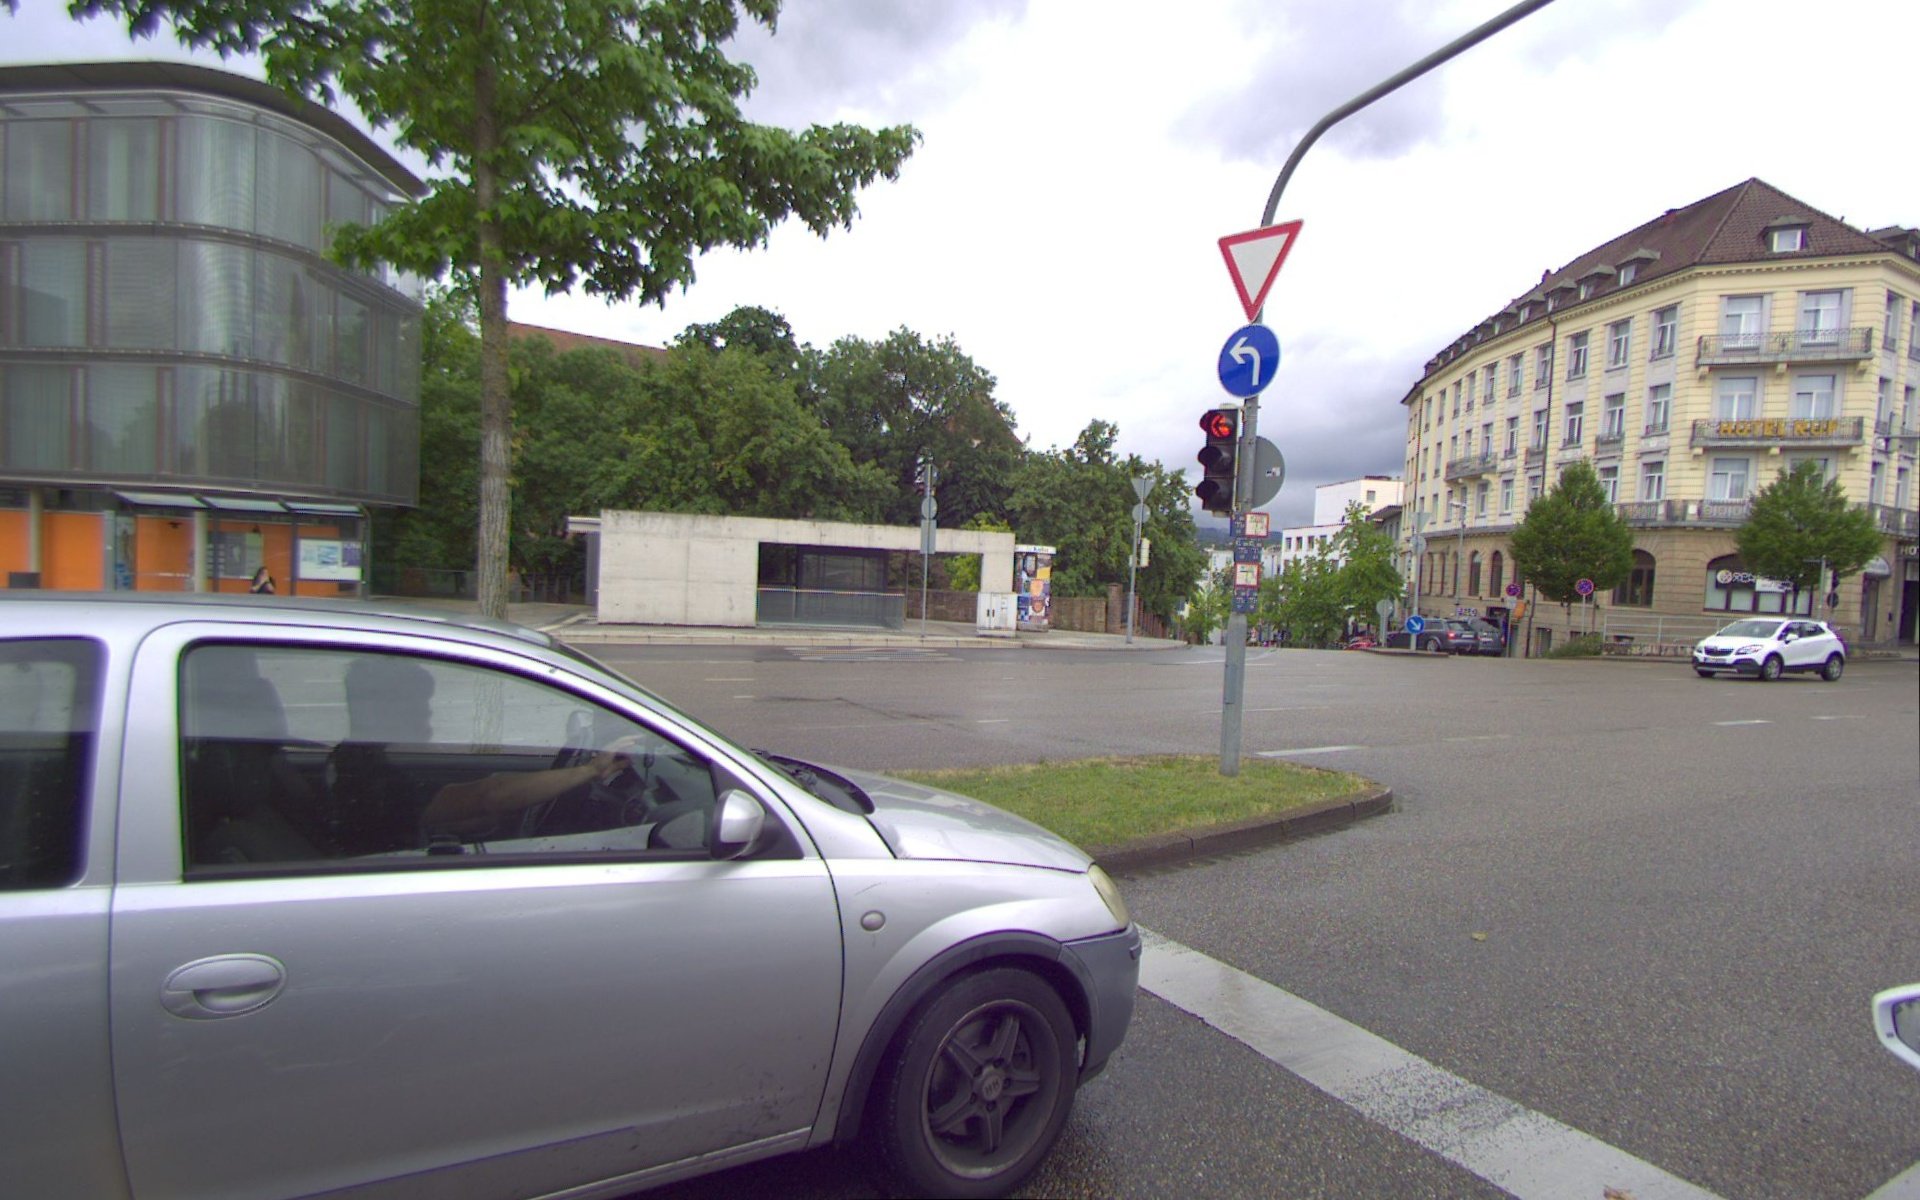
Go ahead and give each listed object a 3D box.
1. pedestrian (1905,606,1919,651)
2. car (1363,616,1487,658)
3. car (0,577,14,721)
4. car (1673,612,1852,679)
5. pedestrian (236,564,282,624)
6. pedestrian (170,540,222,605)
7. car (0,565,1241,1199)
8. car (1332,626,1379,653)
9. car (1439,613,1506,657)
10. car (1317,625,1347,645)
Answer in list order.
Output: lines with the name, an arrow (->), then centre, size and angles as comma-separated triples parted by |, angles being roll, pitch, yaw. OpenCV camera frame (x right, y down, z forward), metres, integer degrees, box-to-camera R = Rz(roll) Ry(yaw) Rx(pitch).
pedestrian -> 39.863, 1.184, 41.592 | 0.741, 1.837, 0.875 | 2, 0, -29
car -> 18.596, 1.468, 40.373 | 1.678, 1.485, 4.421 | 2, 0, -27
car -> -11.640, 0.442, 8.890 | 4.394, 1.485, 1.689 | 2, 0, -27
car -> 21.501, 1.216, 26.926 | 4.147, 1.639, 1.952 | 2, 0, -22
pedestrian -> -15.852, -0.139, 22.728 | 0.709, 1.316, 0.665 | 2, 0, -24
pedestrian -> -21.587, -0.798, 28.396 | 0.809, 1.780, 0.785 | 2, 4, -3
car -> -1.269, 0.705, 2.476 | 3.677, 1.485, 1.686 | 2, 0, -30
car -> 24.565, 2.439, 62.480 | 1.734, 1.498, 4.012 | 2, 0, 7
car -> 22.684, 1.506, 44.577 | 1.602, 1.783, 4.002 | 2, 1, 12
car -> 30.459, 2.883, 82.253 | 1.734, 1.498, 4.002 | 2, 0, 13
